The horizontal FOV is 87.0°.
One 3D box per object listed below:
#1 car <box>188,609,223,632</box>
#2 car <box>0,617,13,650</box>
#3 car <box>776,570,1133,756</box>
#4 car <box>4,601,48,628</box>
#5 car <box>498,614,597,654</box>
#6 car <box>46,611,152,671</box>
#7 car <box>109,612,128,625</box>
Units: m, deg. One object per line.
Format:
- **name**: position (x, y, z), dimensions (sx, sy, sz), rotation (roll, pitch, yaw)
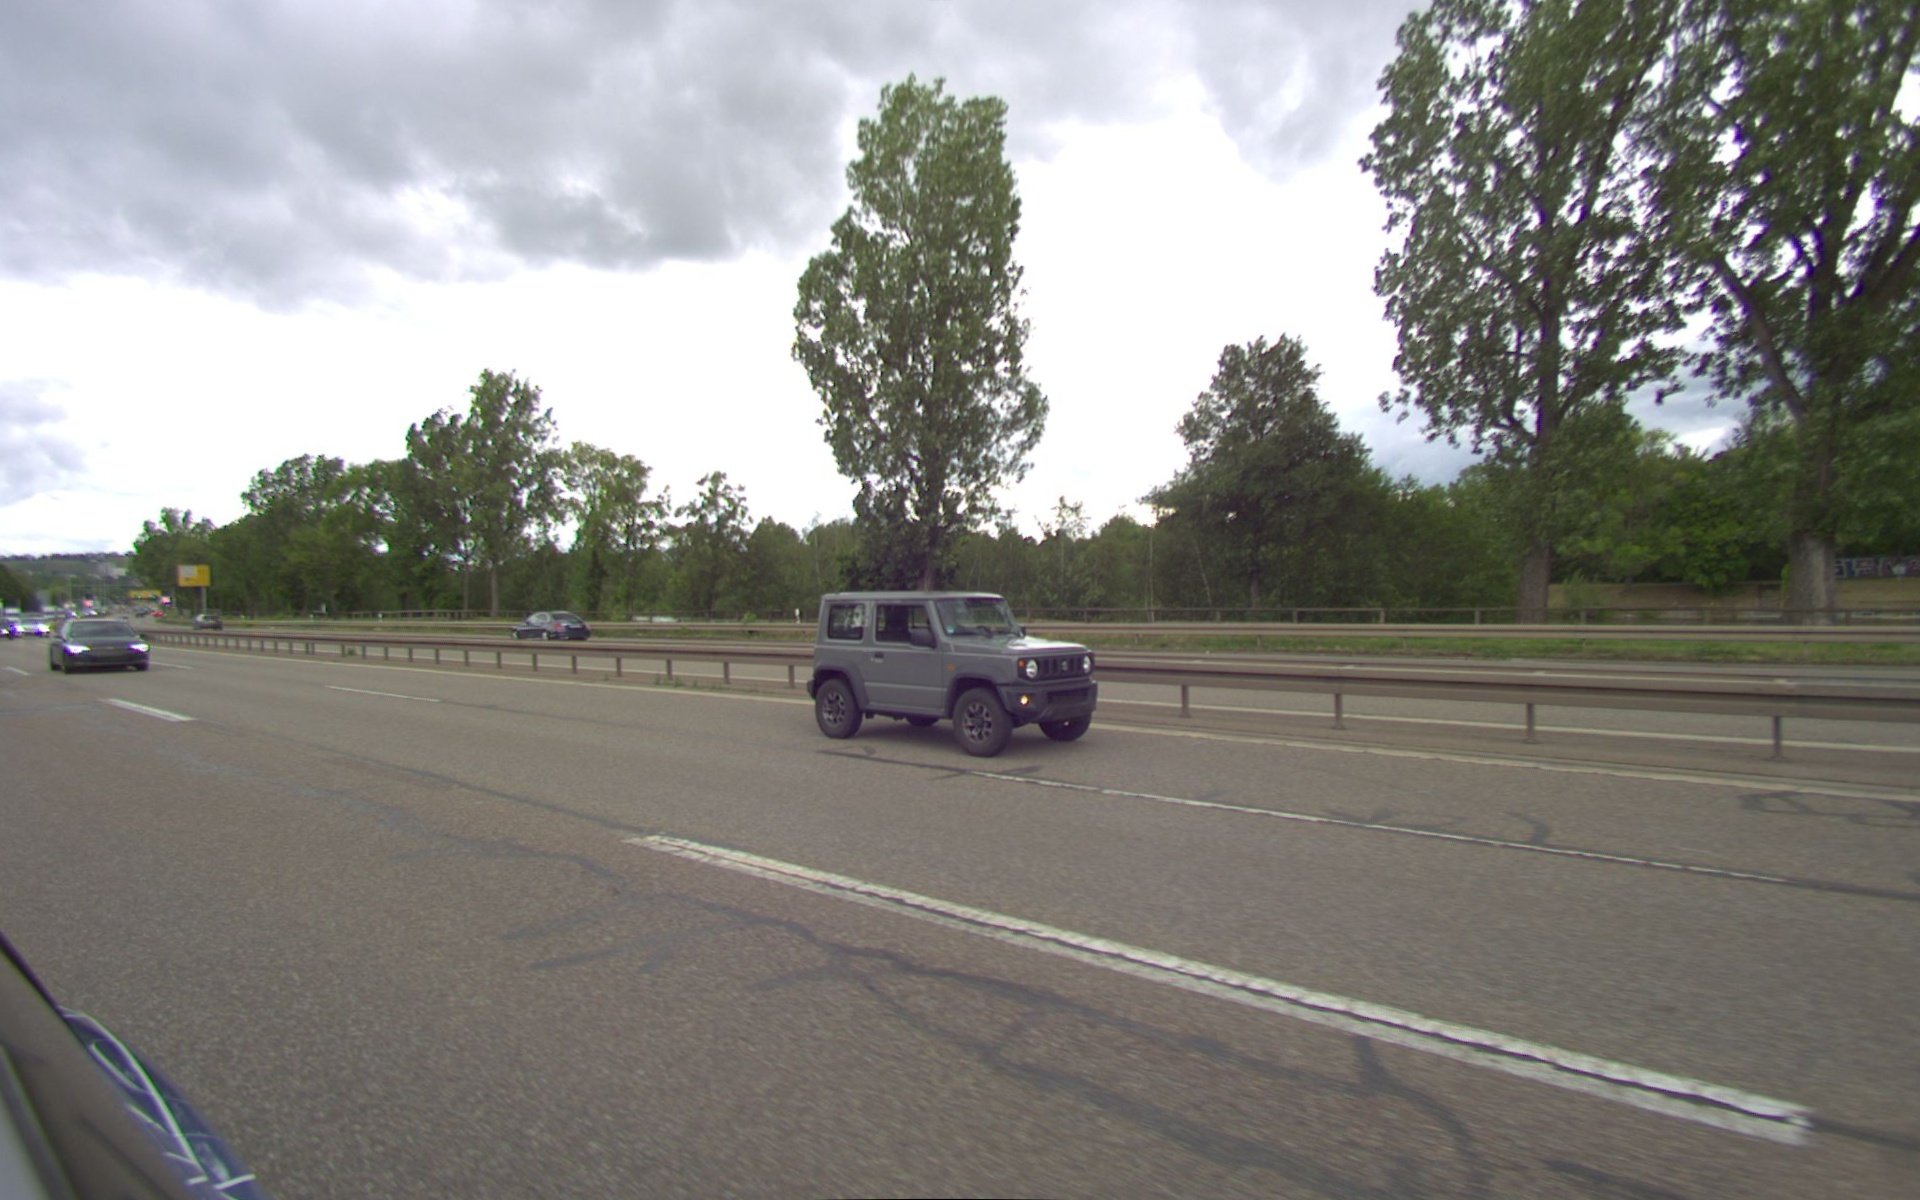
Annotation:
- **car**: position (-71.316, 1.919, 95.600), dimensions (1.970, 2.028, 5.226), rotation (-3, 1, -44)
- **car**: position (-63.083, 2.203, 65.826), dimensions (1.971, 2.028, 4.002), rotation (-3, 1, -45)
- **car**: position (-0.193, 0.625, 11.493), dimensions (3.998, 1.749, 1.663), rotation (-1, -1, 43)
- **car**: position (-66.587, 1.015, 72.122), dimensions (3.997, 1.878, 1.854), rotation (-1, 0, 41)
- **car**: position (-17.900, 1.453, 43.828), dimensions (4.645, 1.621, 1.974), rotation (-1, 0, 39)
- **car**: position (-23.833, 1.091, 27.957), dimensions (1.913, 1.512, 4.306), rotation (0, -1, -45)
- **car**: position (-138.413, 3.044, 166.470), dimensions (4.001, 2.029, 1.972), rotation (-1, 0, 43)
